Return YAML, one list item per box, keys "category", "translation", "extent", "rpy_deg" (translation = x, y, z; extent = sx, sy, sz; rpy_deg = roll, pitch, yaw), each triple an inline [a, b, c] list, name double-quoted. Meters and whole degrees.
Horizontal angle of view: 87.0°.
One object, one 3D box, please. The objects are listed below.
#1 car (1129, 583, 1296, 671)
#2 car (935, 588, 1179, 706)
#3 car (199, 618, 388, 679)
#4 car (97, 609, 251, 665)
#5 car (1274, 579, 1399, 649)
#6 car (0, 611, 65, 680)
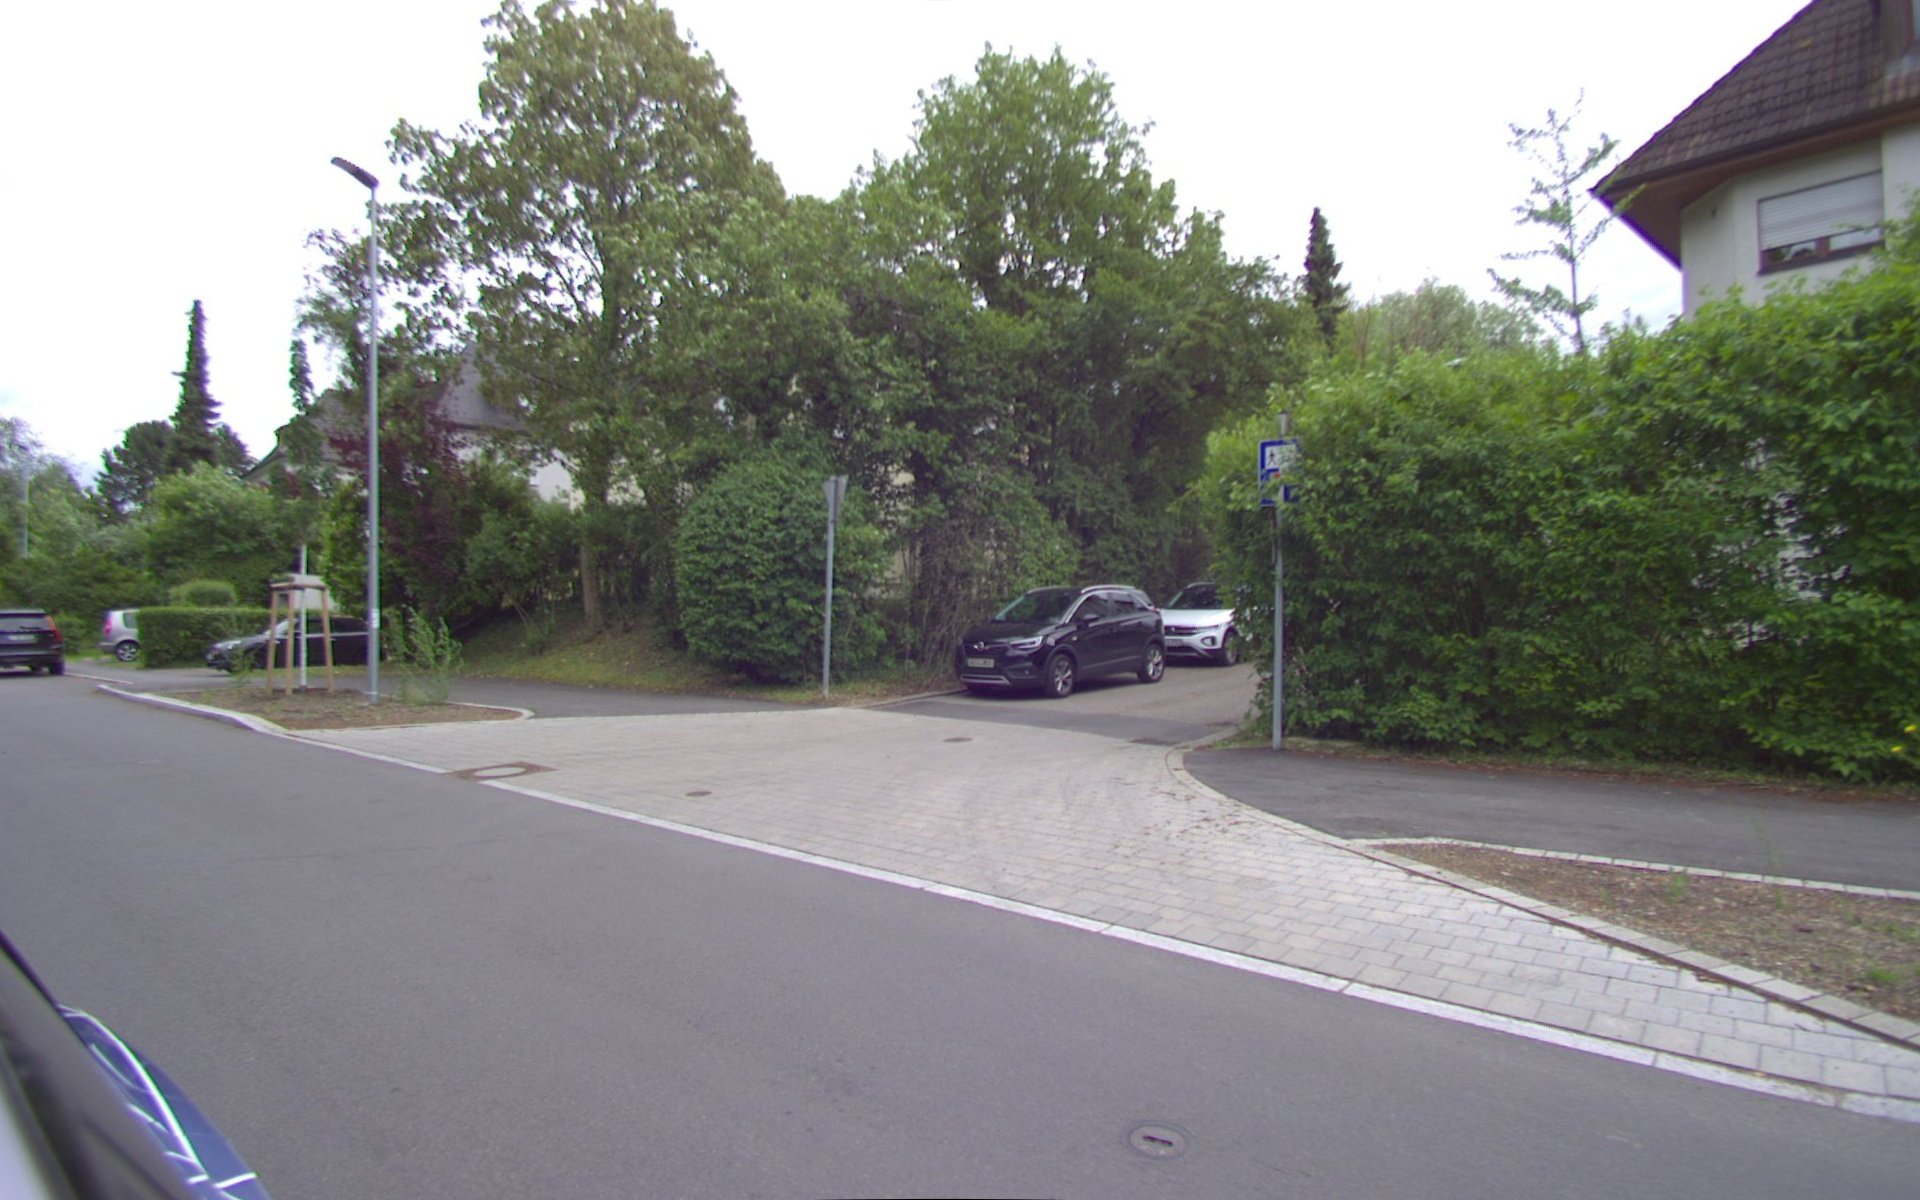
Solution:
- category: "car"
  translation: [5.098, 0.467, 20.075]
  extent: [1.682, 1.569, 3.948]
  rpy_deg: [-1, 0, 39]
- category: "car"
  translation: [1.620, 0.625, 15.690]
  extent: [1.682, 1.569, 4.077]
  rpy_deg: [-1, 0, 41]
- category: "car"
  translation: [-16.843, 1.178, 25.702]
  extent: [1.640, 1.324, 3.725]
  rpy_deg: [-1, 0, 42]
- category: "car"
  translation: [-25.079, 1.143, 32.356]
  extent: [3.720, 1.602, 1.642]
  rpy_deg: [-1, 0, -43]
- category: "car"
  translation: [9.313, 0.296, 24.861]
  extent: [1.682, 1.569, 3.948]
  rpy_deg: [-1, 0, 39]
- category: "car"
  translation: [-25.383, 1.191, 26.896]
  extent: [4.194, 1.693, 1.897]
  rpy_deg: [-1, 0, 42]
